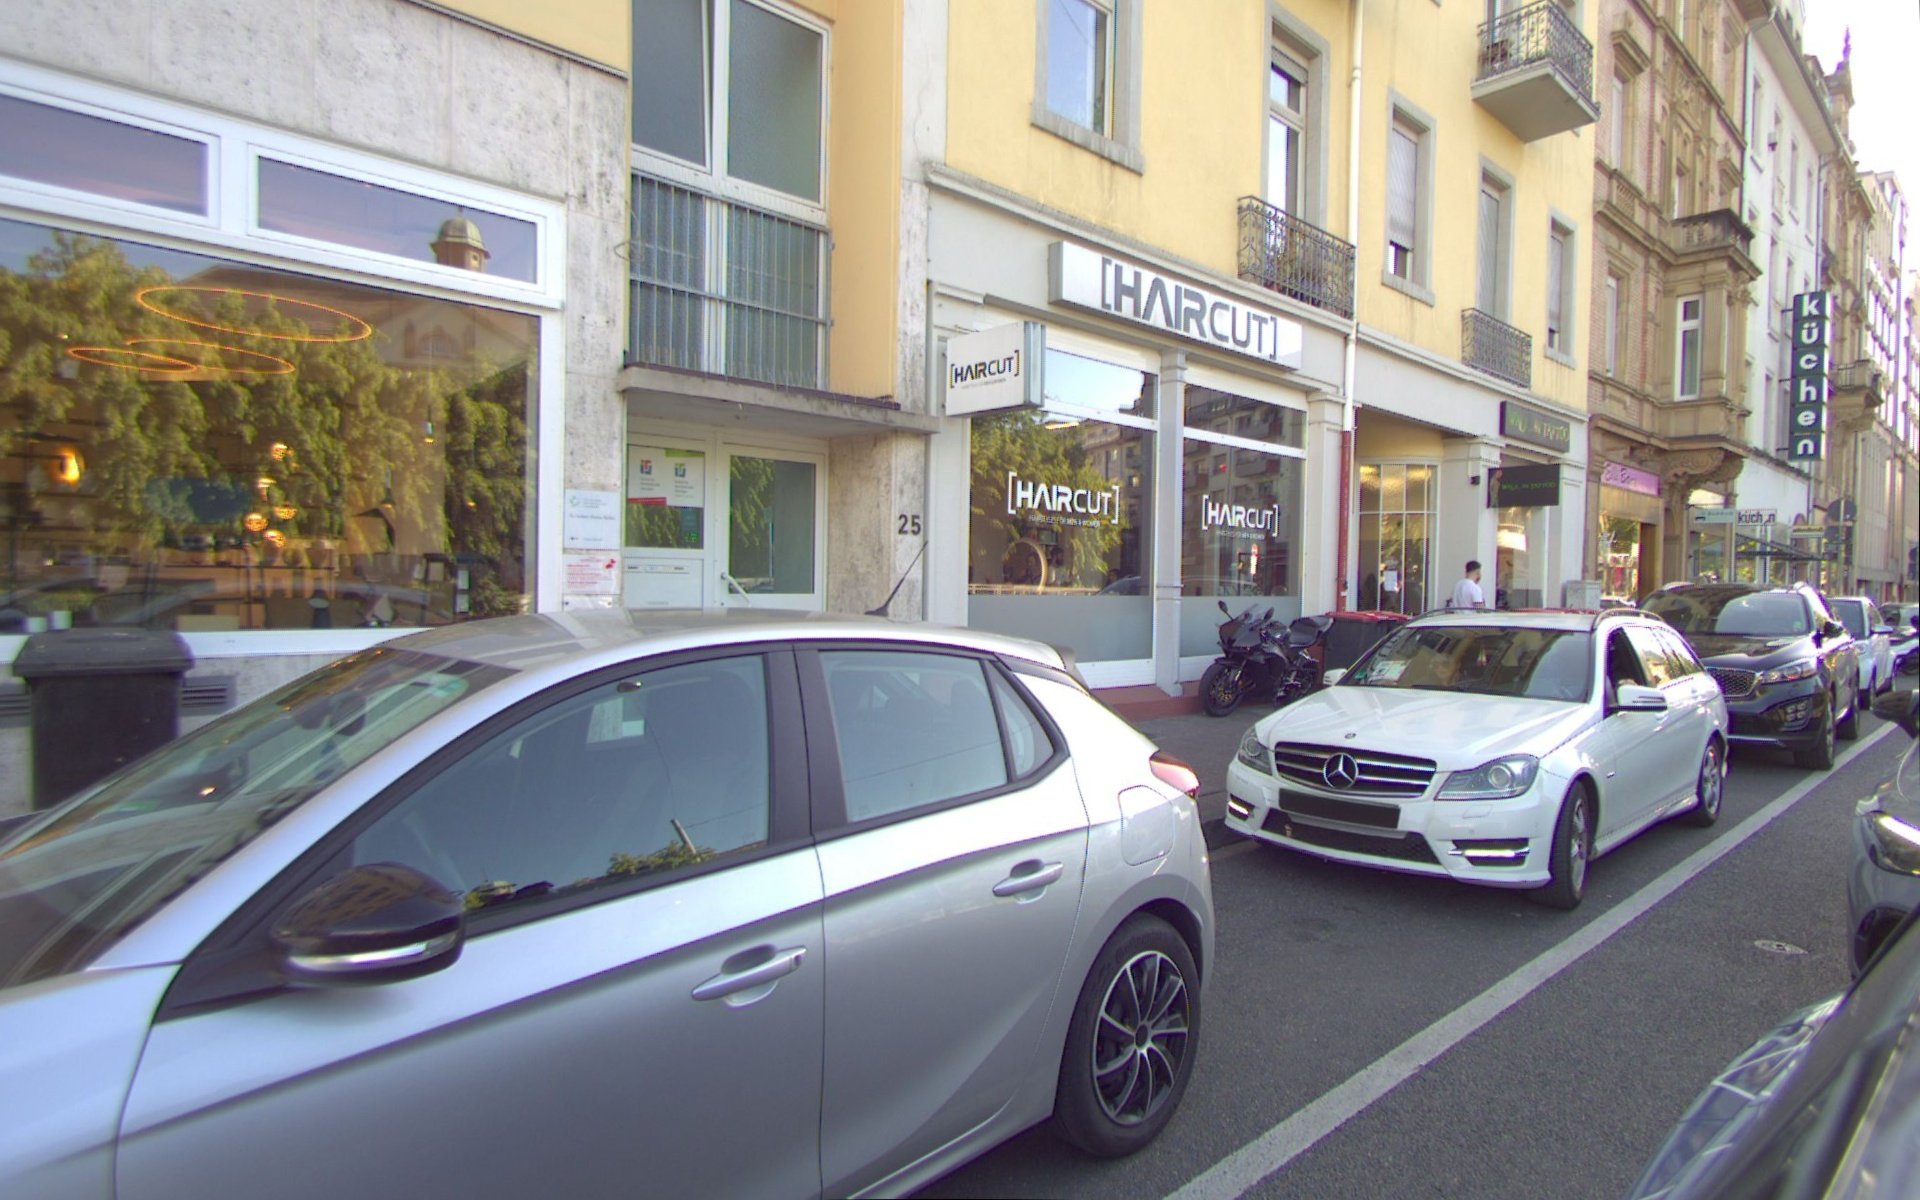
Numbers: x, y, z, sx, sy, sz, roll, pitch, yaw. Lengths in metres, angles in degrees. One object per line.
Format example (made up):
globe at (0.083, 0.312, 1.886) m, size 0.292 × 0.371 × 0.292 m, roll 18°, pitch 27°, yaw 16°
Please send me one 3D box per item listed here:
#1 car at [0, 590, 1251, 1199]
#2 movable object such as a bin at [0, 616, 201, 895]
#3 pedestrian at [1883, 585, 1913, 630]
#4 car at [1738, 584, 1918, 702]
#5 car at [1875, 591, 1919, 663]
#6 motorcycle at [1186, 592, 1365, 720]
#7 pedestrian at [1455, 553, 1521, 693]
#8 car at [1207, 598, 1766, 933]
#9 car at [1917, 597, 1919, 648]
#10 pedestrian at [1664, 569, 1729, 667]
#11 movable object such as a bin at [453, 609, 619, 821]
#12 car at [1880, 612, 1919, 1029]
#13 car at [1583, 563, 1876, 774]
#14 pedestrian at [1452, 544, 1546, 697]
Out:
car at (-1.005, 0.714, 2.307) m, size 3.625 × 1.455 × 1.585 m, roll -1°, pitch 0°, yaw -43°
movable object such as a bin at (-3.672, 0.598, 4.323) m, size 0.639 × 1.036 × 0.737 m, roll 0°, pitch 0°, yaw -41°
pedestrian at (38.112, 0.298, 41.109) m, size 0.809 × 1.782 × 0.825 m, roll 0°, pitch 0°, yaw -42°
car at (12.773, 0.546, 14.851) m, size 2.945 × 1.542 × 1.582 m, roll -1°, pitch 0°, yaw -41°
car at (21.900, 0.564, 22.807) m, size 3.736 × 1.509 × 1.691 m, roll -1°, pitch 0°, yaw -45°
motorcycle at (3.303, 0.521, 10.503) m, size 2.073 × 1.144 × 0.735 m, roll -1°, pitch 5°, yaw -41°
pedestrian at (7.241, 0.299, 13.873) m, size 0.627 × 1.859 × 0.760 m, roll 0°, pitch 0°, yaw 41°
car at (3.534, 0.707, 6.387) m, size 4.301 × 1.389 × 1.671 m, roll -1°, pitch 0°, yaw -41°
car at (26.612, 0.573, 26.926) m, size 3.306 × 1.334 × 1.459 m, roll -1°, pitch 0°, yaw -42°
pedestrian at (13.472, 0.311, 18.514) m, size 0.806 × 1.741 × 0.835 m, roll 0°, pitch 0°, yaw -44°
movable object such as a bin at (-2.325, 0.579, 5.537) m, size 0.639 × 1.036 × 0.737 m, roll 0°, pitch 0°, yaw -41°
car at (5.399, 0.749, 4.375) m, size 4.397 × 1.385 × 1.767 m, roll -1°, pitch 1°, yaw -43°
car at (8.011, 0.529, 10.365) m, size 4.338 × 1.711 × 1.802 m, roll -1°, pitch 0°, yaw -45°
pedestrian at (6.866, 0.252, 12.927) m, size 0.961 × 1.900 × 0.532 m, roll 0°, pitch 0°, yaw 18°
